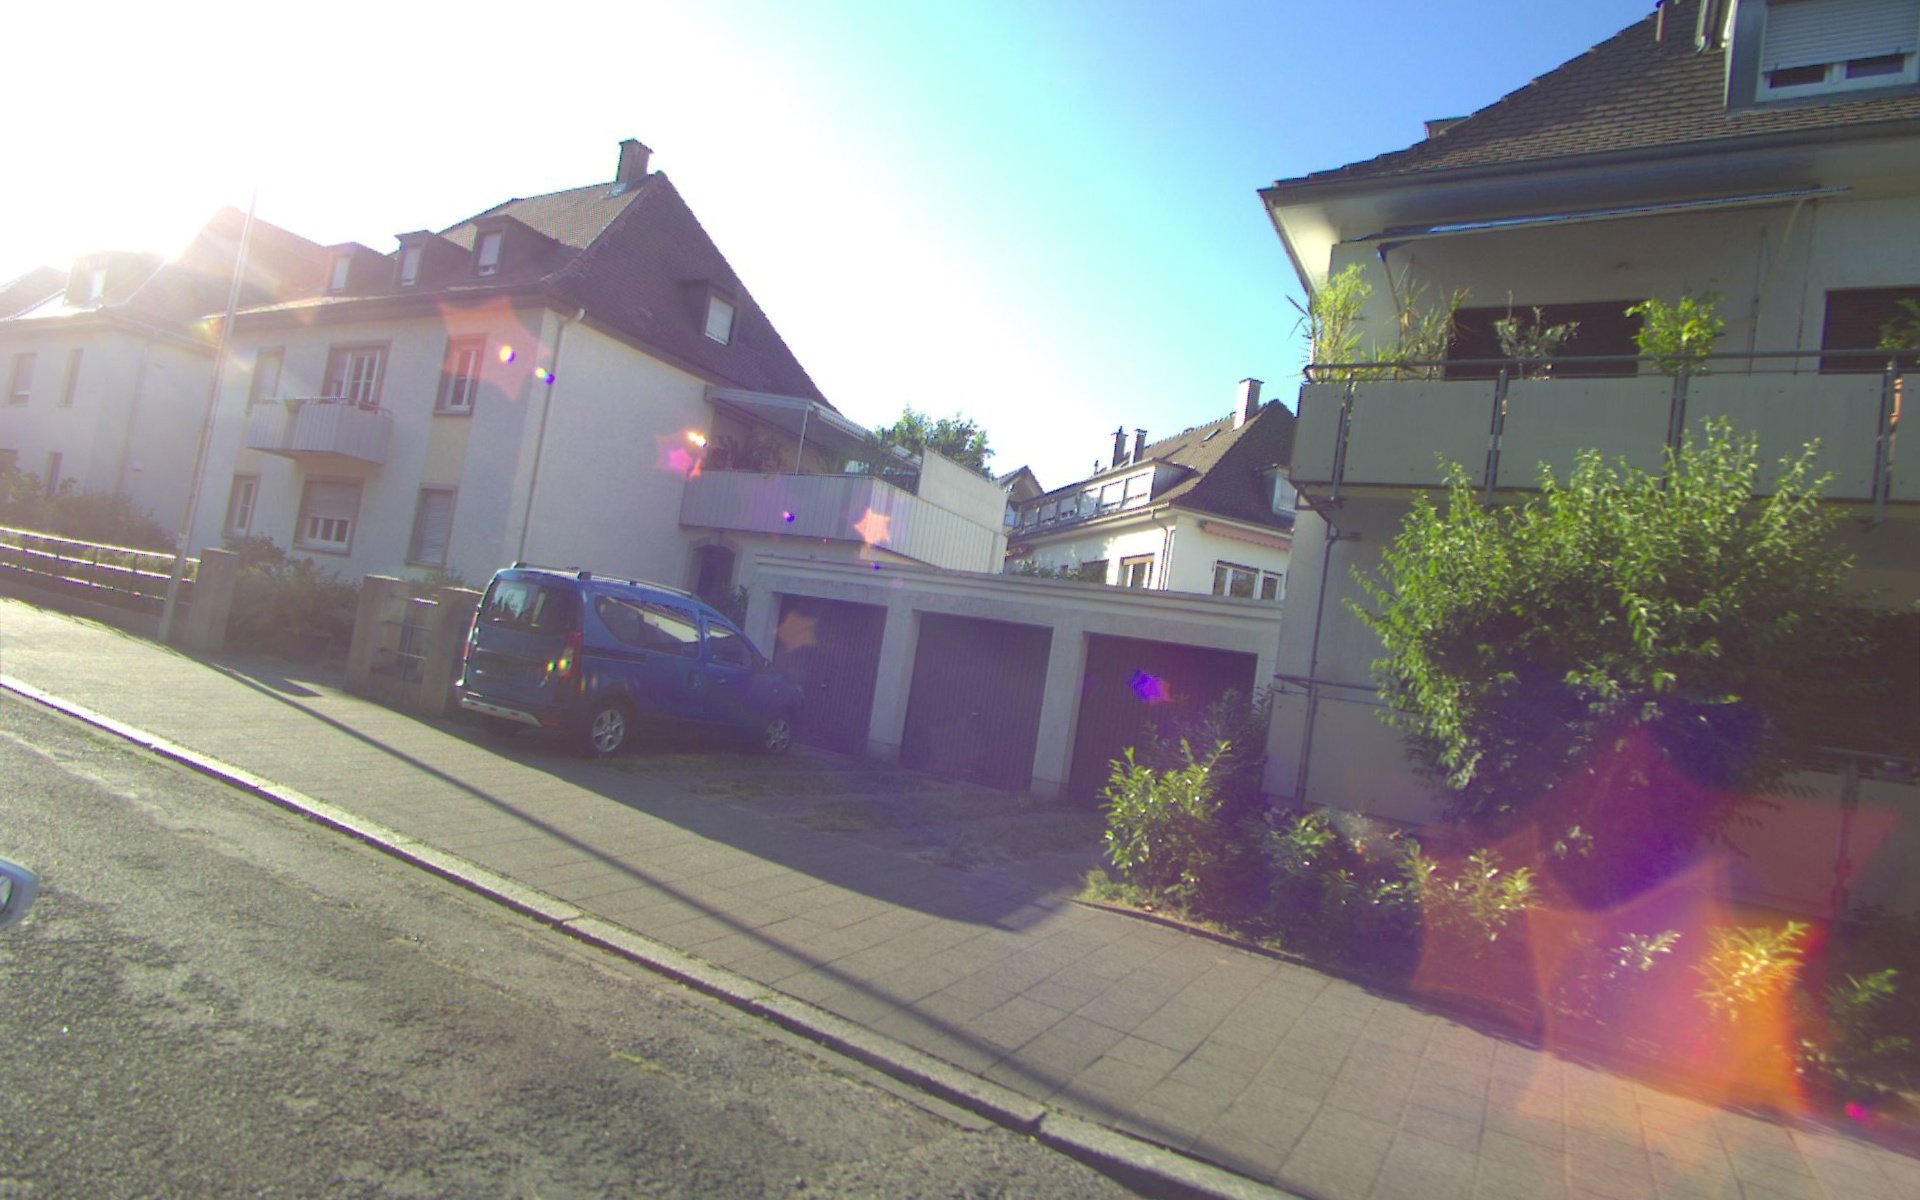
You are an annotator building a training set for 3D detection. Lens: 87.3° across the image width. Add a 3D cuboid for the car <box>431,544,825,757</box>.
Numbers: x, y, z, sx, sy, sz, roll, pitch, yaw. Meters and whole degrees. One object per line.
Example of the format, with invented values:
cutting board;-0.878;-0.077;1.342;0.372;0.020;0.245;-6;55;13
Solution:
car;-3.503;0.705;11.454;1.729;1.840;4.003;7;-4;27
